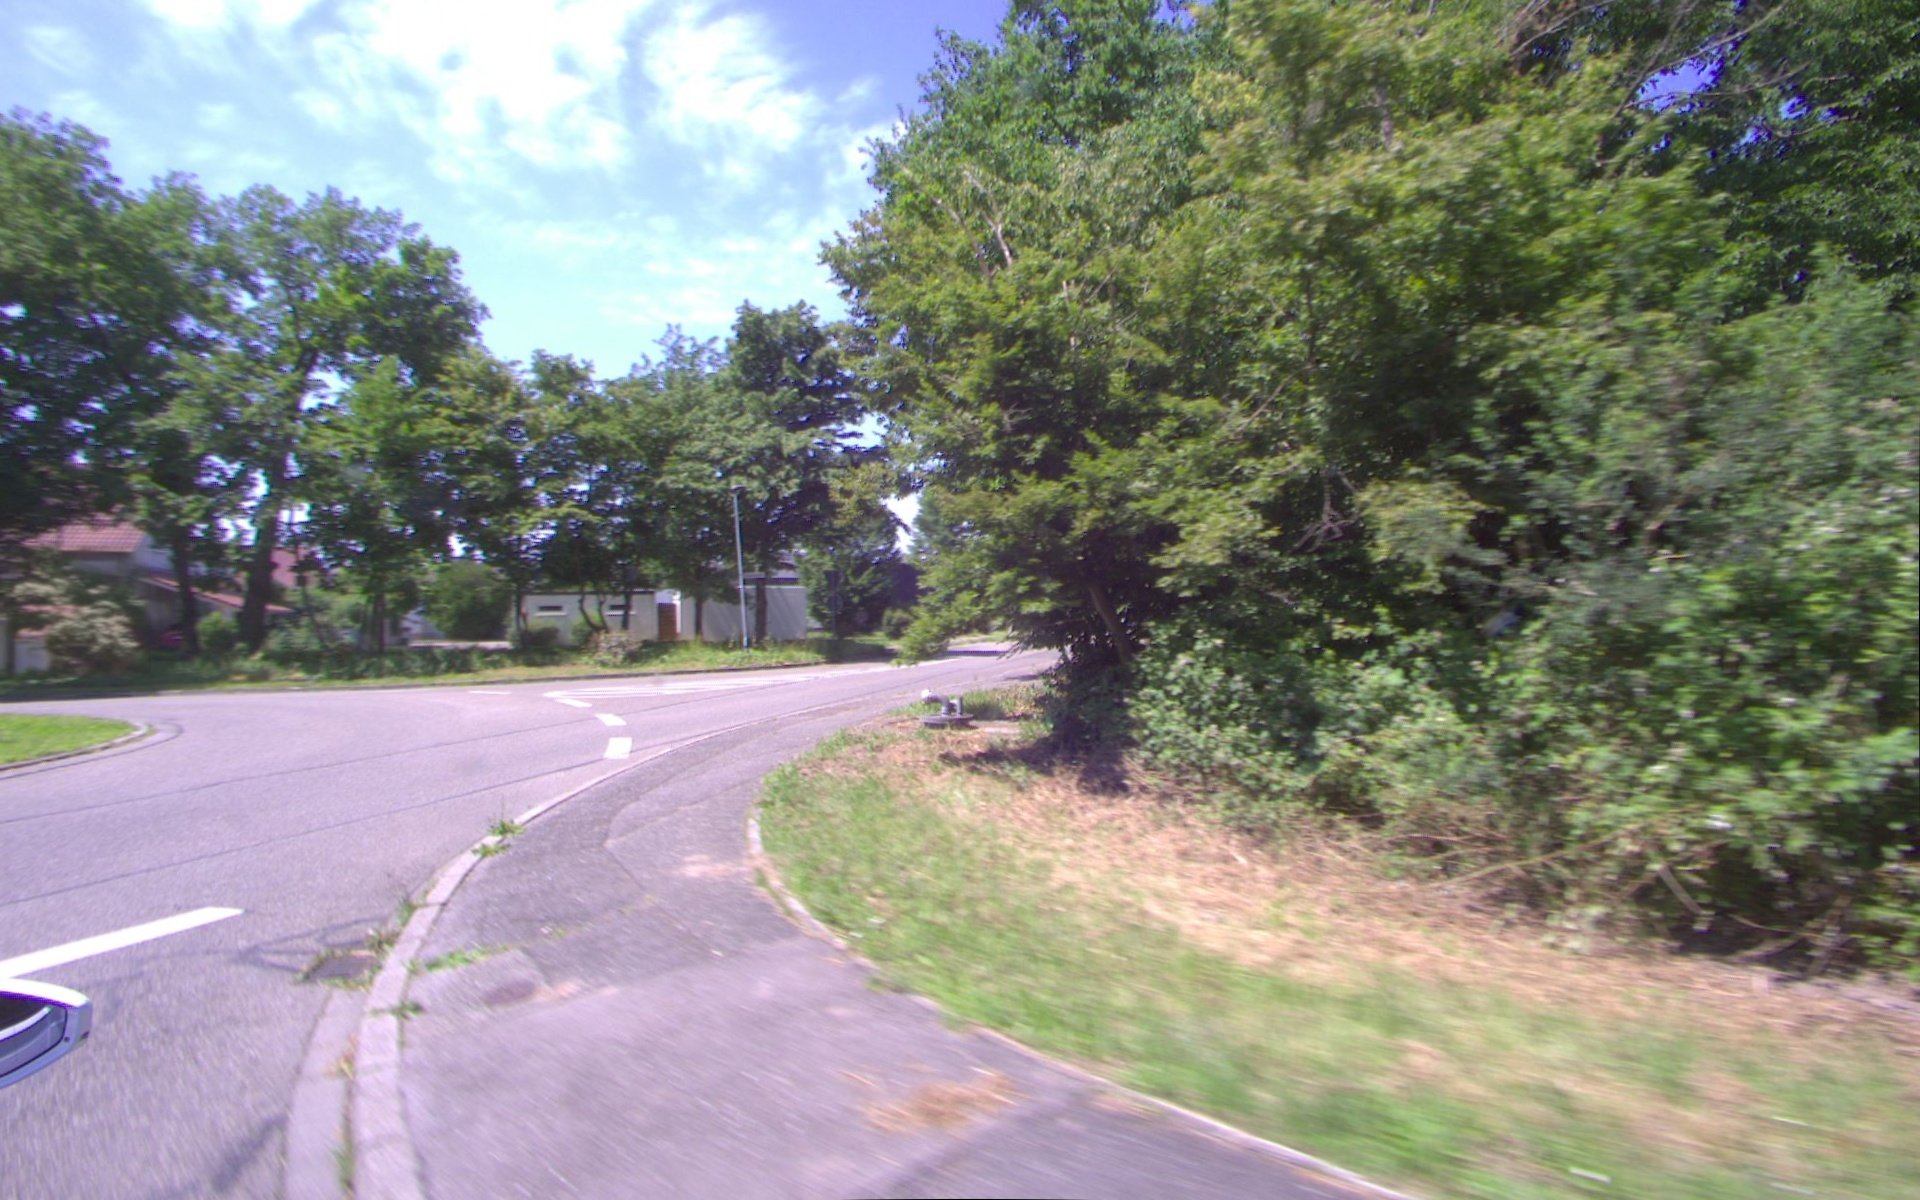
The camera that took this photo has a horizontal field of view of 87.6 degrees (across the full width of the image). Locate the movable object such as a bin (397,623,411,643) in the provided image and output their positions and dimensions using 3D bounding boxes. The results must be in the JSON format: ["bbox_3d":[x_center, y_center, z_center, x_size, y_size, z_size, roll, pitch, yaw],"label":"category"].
[{"bbox_3d":[-31.615,1.853,56.913,0.648,1.127,0.455,-1,0,-23],"label":"movable object such as a bin"}]

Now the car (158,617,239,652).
[{"bbox_3d":[-32.506,1.435,42.844,1.655,1.403,3.685,0,0,-19],"label":"car"}]
